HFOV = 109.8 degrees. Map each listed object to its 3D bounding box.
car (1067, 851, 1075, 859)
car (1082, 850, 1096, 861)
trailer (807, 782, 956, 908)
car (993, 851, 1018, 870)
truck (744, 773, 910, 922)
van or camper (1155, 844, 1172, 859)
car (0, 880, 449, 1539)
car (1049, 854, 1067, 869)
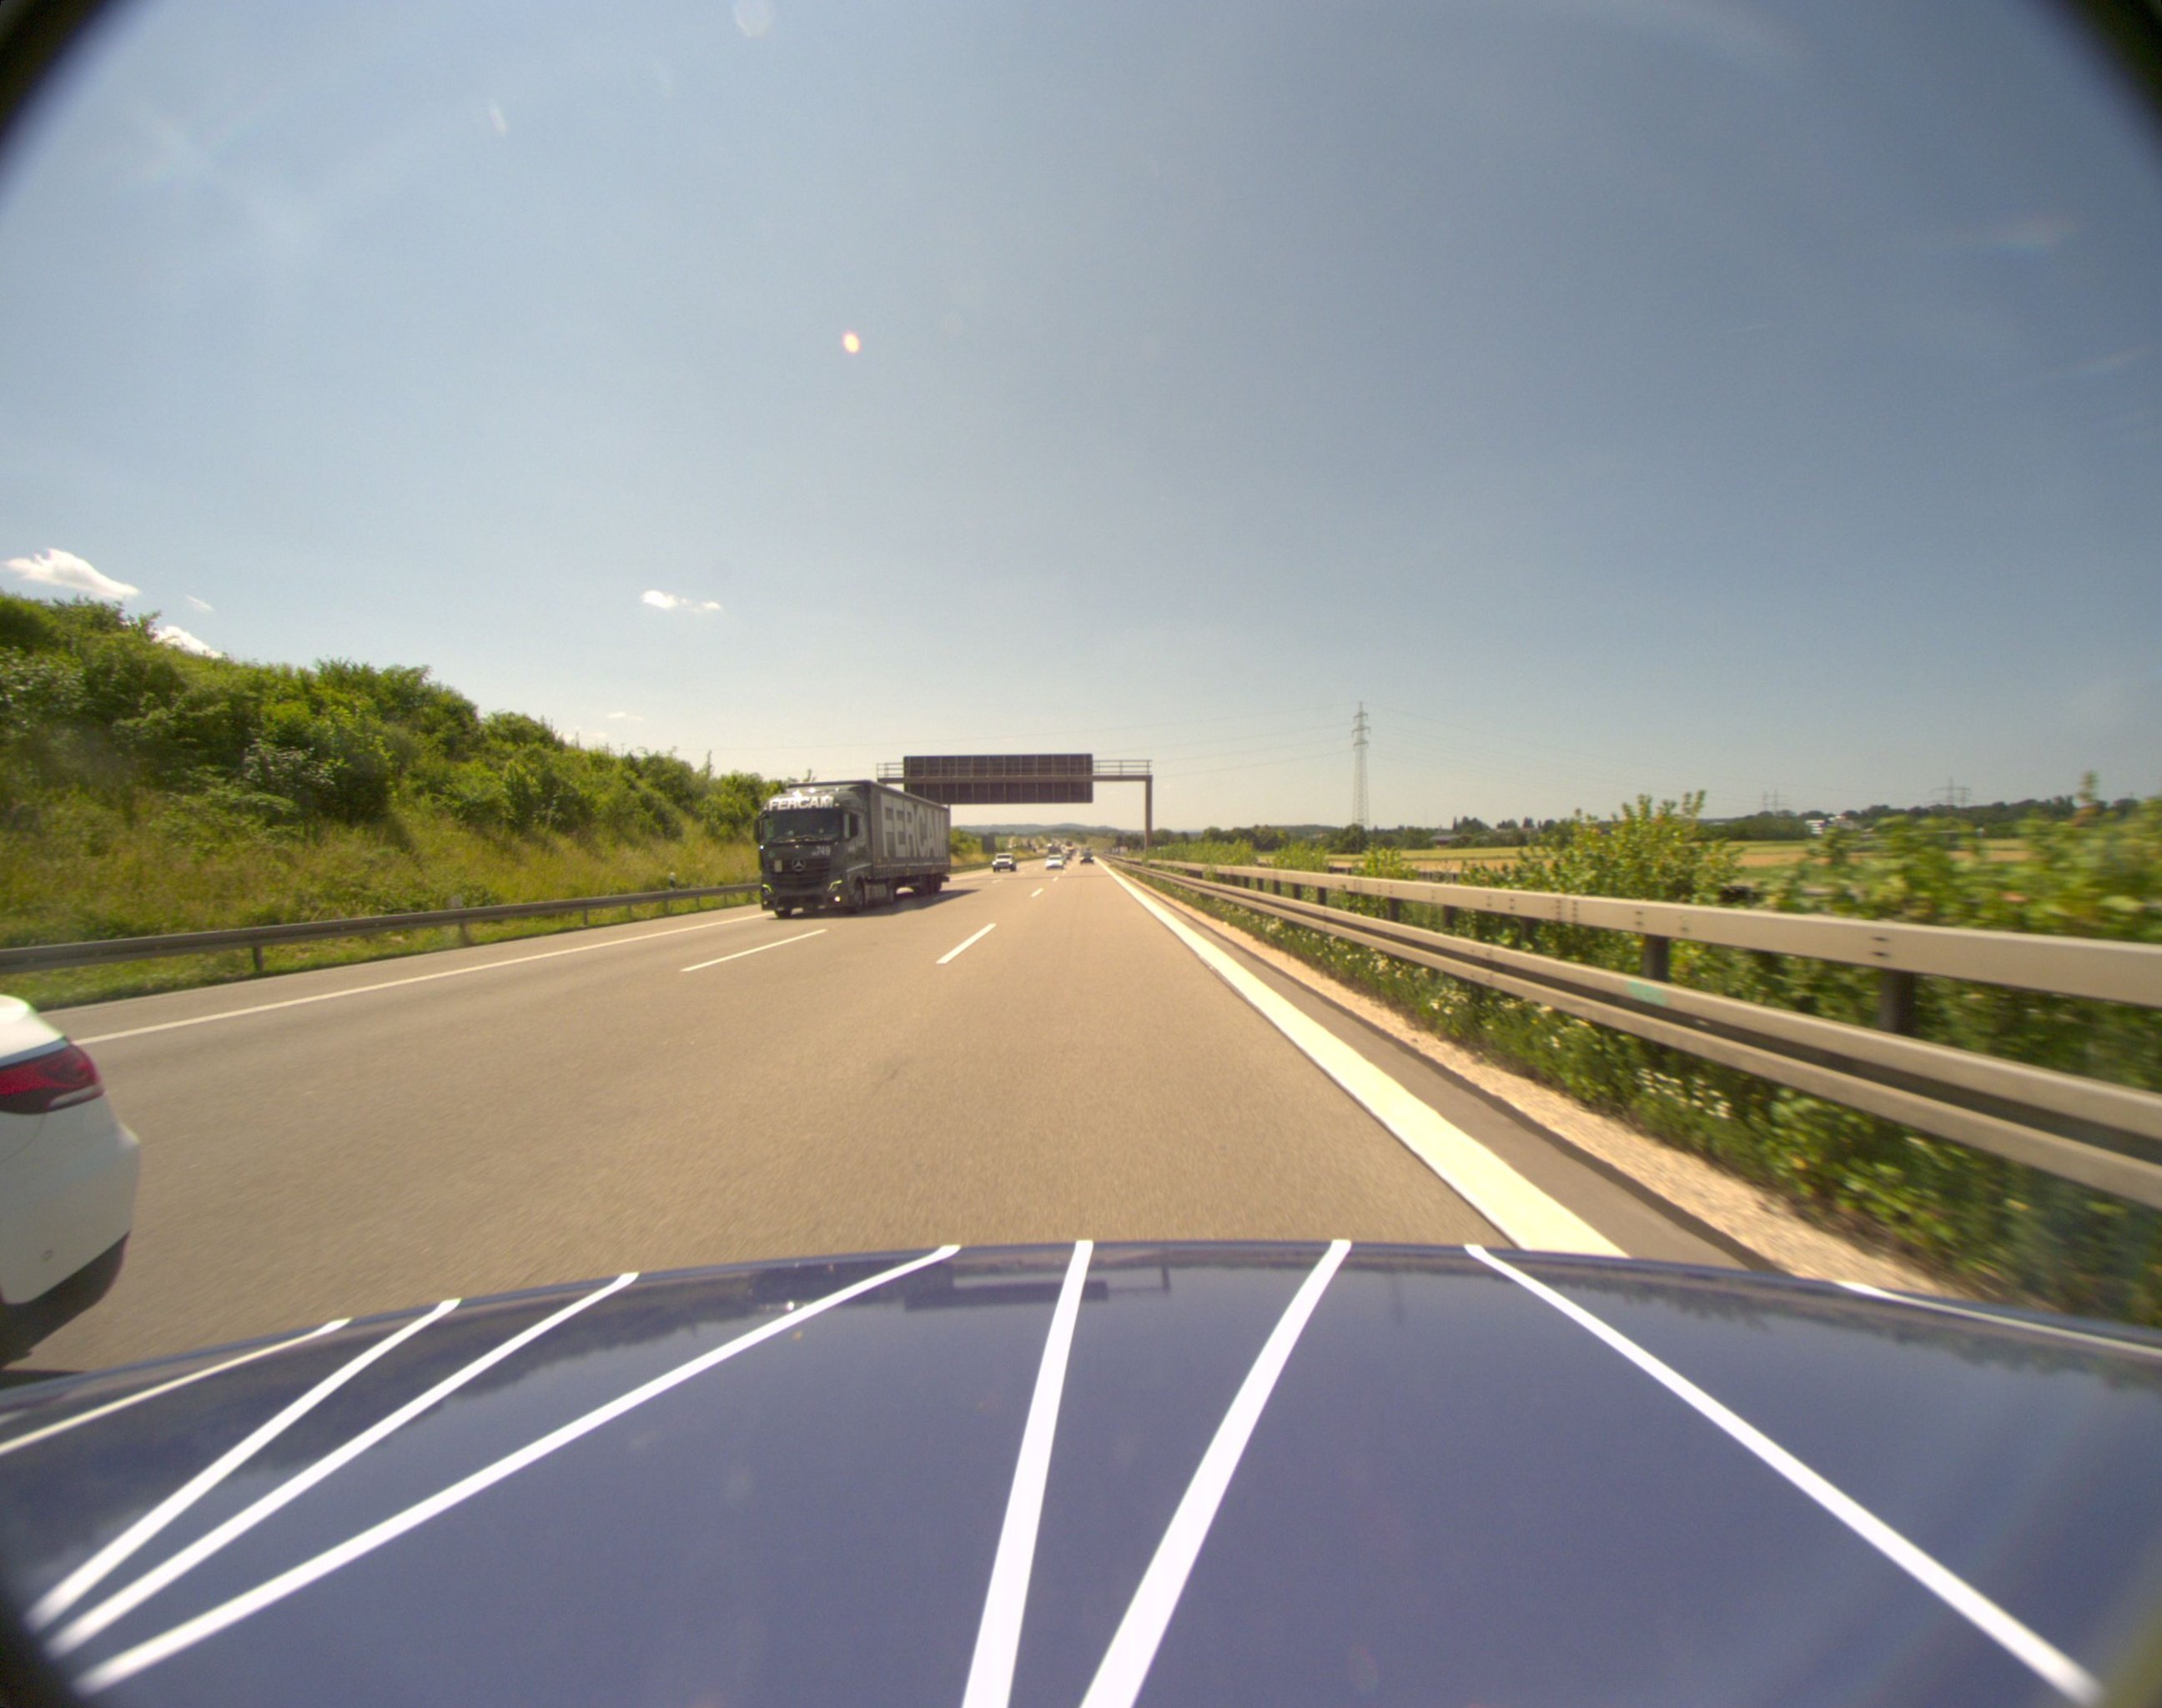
[{"bbox_3d":[-2.074,0.096,158.319,1.751,1.559,3.999,-2,1,-1],"label":"car"},{"bbox_3d":[1.044,0.216,103.595,1.751,1.439,3.999,-2,0,-1],"label":"car"},{"bbox_3d":[-7.656,-0.356,31.345,2.732,4.131,11.807,-2,1,1],"label":"trailer"},{"bbox_3d":[-7.637,0.623,76.906,2.040,1.794,4.250,-2,1,0],"label":"car"},{"bbox_3d":[-7.742,-0.219,24.301,2.759,3.997,6.787,-2,1,1],"label":"truck"},{"bbox_3d":[14.291,-0.500,132.290,2.233,2.494,6.597,-2,0,1],"label":"van or camper"},{"bbox_3d":[-3.670,0.962,0.570,1.919,1.571,5.230,-2,1,0],"label":"car"},{"bbox_3d":[-2.403,0.790,80.149,1.780,1.425,4.690,-2,1,0],"label":"car"}]
